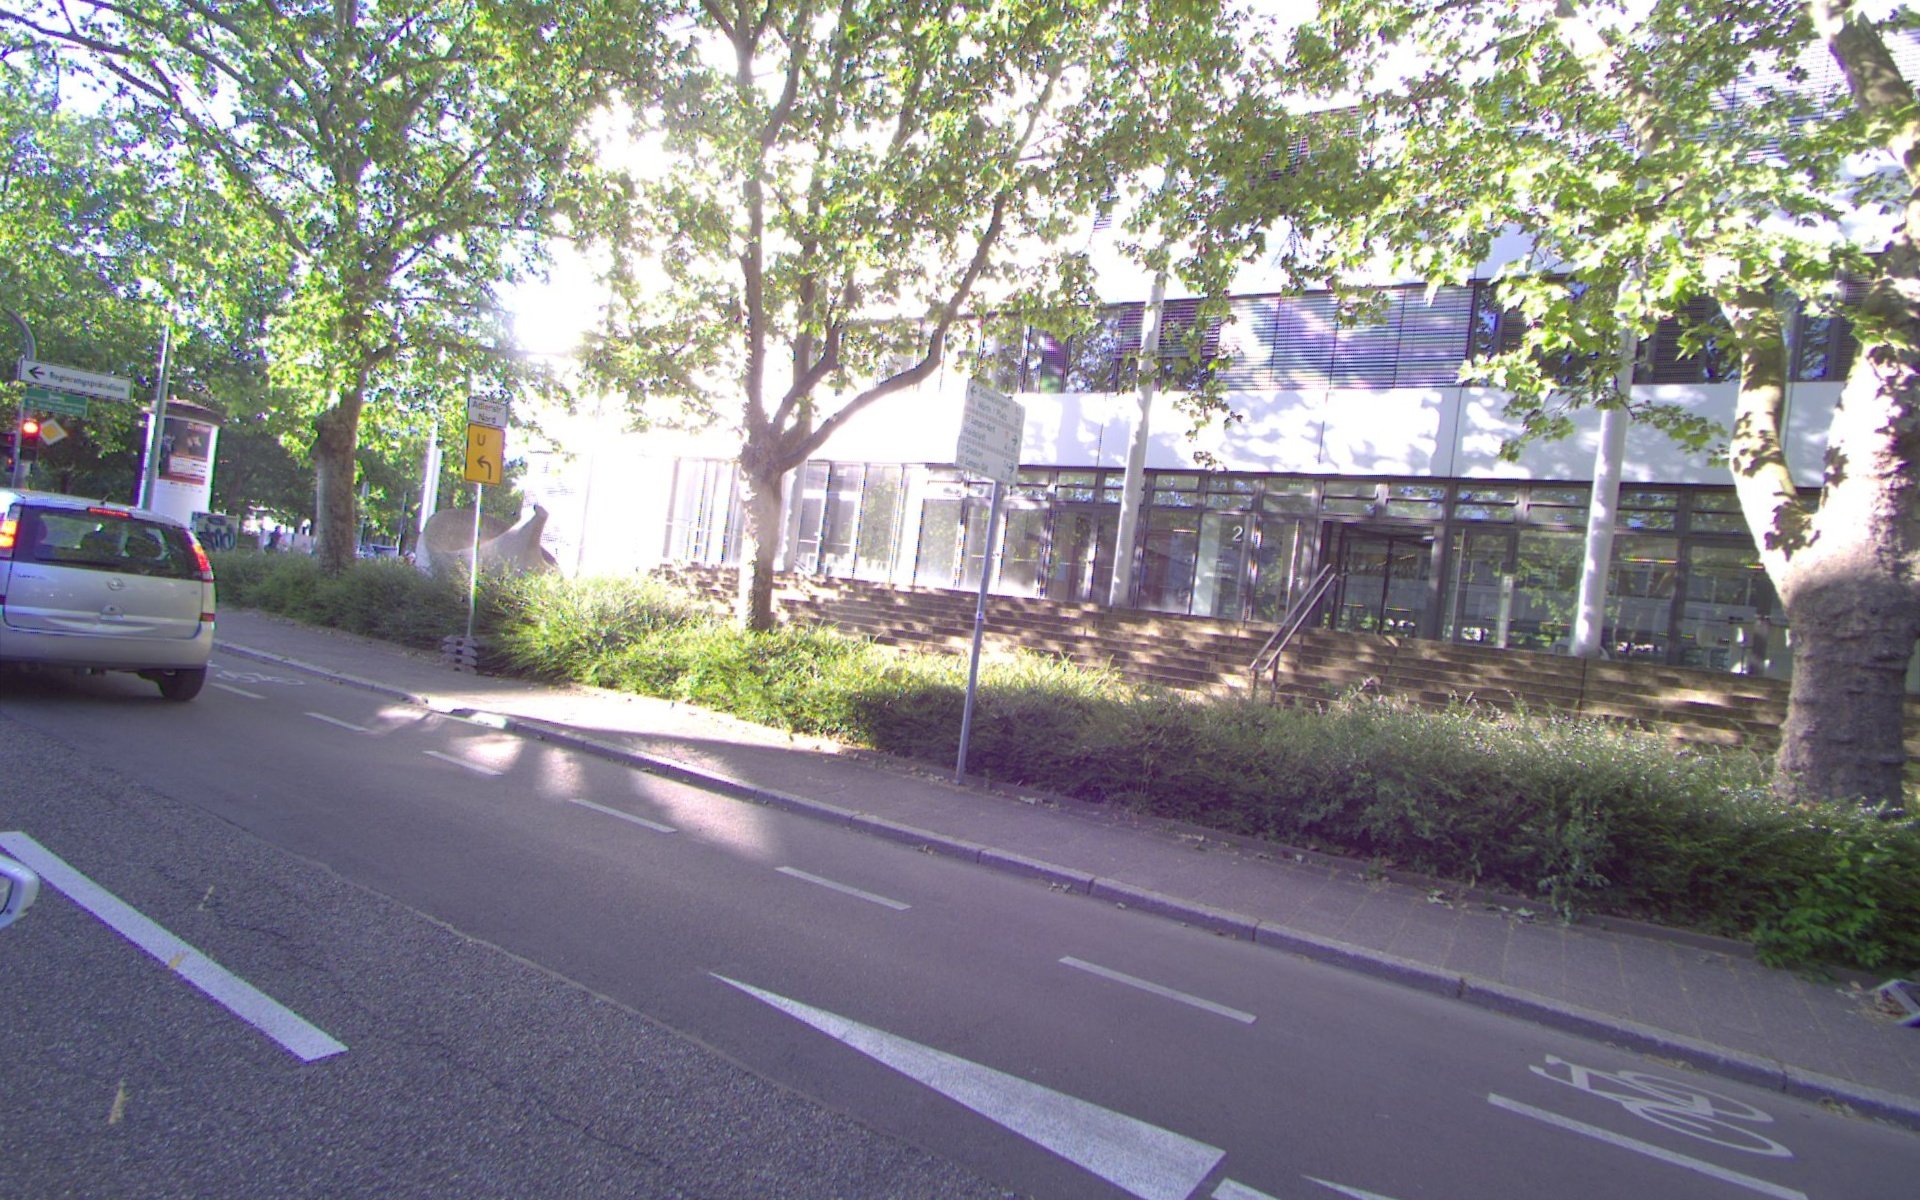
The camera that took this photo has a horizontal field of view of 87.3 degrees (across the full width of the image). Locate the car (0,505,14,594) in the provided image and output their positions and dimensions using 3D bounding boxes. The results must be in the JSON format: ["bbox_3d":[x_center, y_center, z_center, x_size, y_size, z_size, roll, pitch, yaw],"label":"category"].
[{"bbox_3d":[-14.011,-0.727,12.590,4.592,1.481,1.917,7,-3,32],"label":"car"}]

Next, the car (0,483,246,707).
[{"bbox_3d":[-8.228,-0.152,8.941,3.797,1.621,1.703,7,-1,34],"label":"car"}]

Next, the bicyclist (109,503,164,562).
[{"bbox_3d":[-25.662,-2.096,31.341,0.597,1.662,1.017,7,-1,26],"label":"bicyclist"}]

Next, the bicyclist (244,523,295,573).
[{"bbox_3d":[-23.453,-1.749,34.171,0.700,1.508,1.118,7,-1,31],"label":"bicyclist"}]

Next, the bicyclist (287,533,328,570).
[{"bbox_3d":[-23.465,-1.750,36.184,0.610,1.168,0.992,7,-1,33],"label":"bicyclist"}]

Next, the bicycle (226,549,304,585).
[{"bbox_3d":[-23.556,-1.112,34.116,0.721,0.914,1.990,7,-1,30],"label":"bicycle"}]

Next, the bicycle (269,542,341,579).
[{"bbox_3d":[-23.522,-1.398,36.167,0.641,1.040,1.983,7,-1,32],"label":"bicycle"}]
